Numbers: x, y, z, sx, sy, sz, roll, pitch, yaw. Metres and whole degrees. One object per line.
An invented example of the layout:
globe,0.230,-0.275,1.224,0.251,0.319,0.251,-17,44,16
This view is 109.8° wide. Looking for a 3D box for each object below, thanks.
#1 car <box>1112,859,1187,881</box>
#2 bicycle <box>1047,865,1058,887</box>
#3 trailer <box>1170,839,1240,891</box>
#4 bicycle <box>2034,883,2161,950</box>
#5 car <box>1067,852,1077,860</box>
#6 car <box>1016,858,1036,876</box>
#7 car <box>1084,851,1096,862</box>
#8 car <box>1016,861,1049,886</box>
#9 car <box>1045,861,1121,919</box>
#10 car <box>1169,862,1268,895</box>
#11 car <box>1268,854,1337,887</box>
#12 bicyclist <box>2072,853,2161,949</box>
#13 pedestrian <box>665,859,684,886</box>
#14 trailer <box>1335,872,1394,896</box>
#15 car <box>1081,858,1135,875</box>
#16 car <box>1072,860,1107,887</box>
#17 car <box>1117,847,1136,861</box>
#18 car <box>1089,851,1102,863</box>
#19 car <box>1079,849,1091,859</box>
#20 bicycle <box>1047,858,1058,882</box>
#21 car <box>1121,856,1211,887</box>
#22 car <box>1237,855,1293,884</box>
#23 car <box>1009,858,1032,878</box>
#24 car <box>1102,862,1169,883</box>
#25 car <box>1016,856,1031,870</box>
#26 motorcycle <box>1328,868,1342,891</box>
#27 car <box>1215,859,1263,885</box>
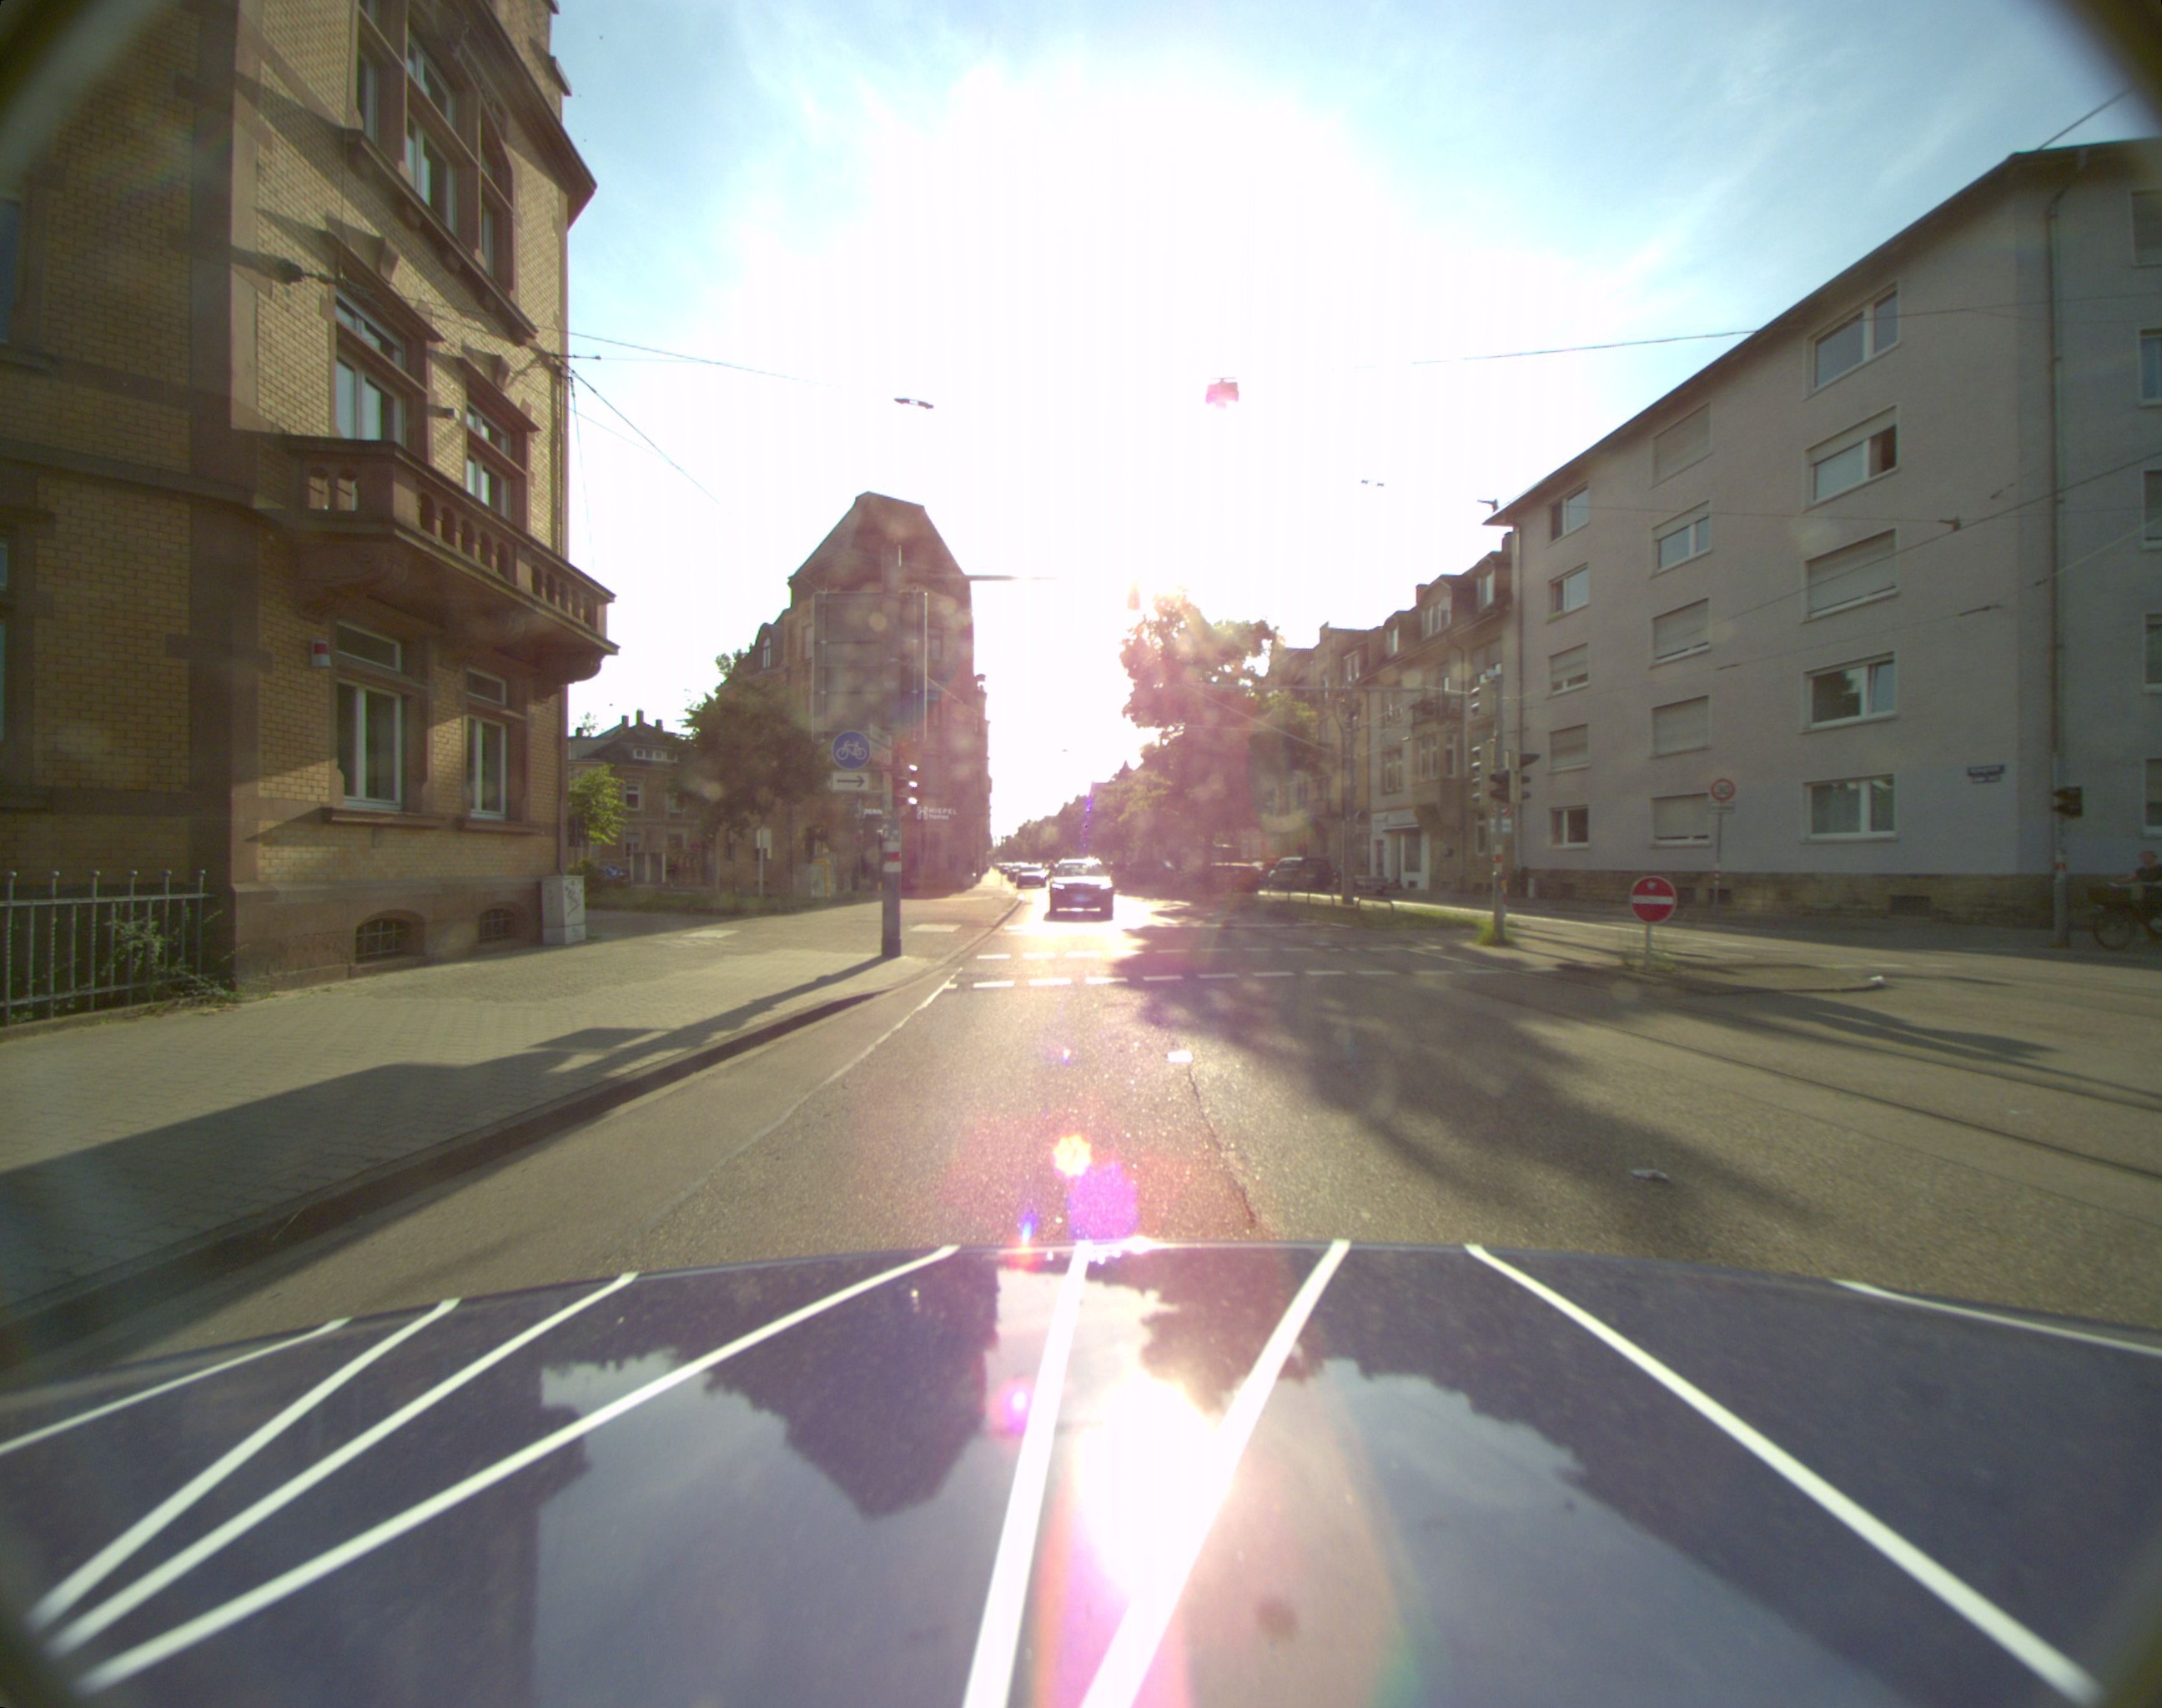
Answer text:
car,4.527,1.087,50.403,4.598,1.373,1.705,-2,0,28
bicycle,-1.579,1.238,42.484,0.484,1.183,1.338,-1,0,-6
trailer,5.951,0.536,36.423,2.859,2.377,1.726,-1,0,25
bicycle,18.370,1.077,13.380,1.913,1.104,0.736,0,1,14
car,-2.125,0.443,184.993,2.000,2.002,3.998,-1,0,-7
car,-6.154,1.404,84.427,2.000,2.002,3.998,0,0,-7
car,1.709,0.490,150.185,1.999,2.002,3.999,-1,0,-3
car,-3.214,1.255,49.799,1.841,1.494,4.263,-1,0,-8
car,-0.051,0.957,21.608,1.840,1.472,3.999,0,0,-4
car,5.983,1.049,33.191,3.942,1.352,1.676,0,0,28
car,12.391,0.894,42.852,2.171,1.739,4.716,-1,0,-4
bicyclist,18.366,0.808,13.372,0.772,1.633,0.795,0,1,14
pedestrian,-25.922,1.175,48.461,0.781,1.665,0.765,-1,0,42
trailer,13.553,1.423,36.476,1.444,0.891,2.878,-7,0,-5
car,2.400,1.143,68.139,4.260,1.413,2.176,-2,0,35
car,0.494,1.190,47.563,1.999,1.564,4.000,-1,0,-2
car,6.543,0.033,109.178,2.000,2.002,3.998,-1,0,-6
car,2.700,0.534,139.343,1.999,2.002,3.999,-1,0,-3
car,0.775,0.085,163.032,2.000,2.002,3.998,-1,0,-7
bicycle,-1.590,0.884,42.528,0.575,1.290,0.688,-1,0,-6
car,4.939,0.990,44.296,4.704,1.680,2.177,-1,0,35
car,11.892,0.963,49.453,2.171,1.739,4.609,-1,0,-4
car,-5.586,1.233,69.738,2.000,1.772,3.997,0,0,-7
car,3.860,1.337,54.102,4.294,1.413,1.963,-2,0,35
car,-8.476,1.265,111.980,2.000,2.002,3.998,0,0,-6
motorcycle,13.016,1.292,38.897,0.636,1.073,1.736,-1,0,18
car,11.318,1.247,54.624,2.171,1.739,4.609,-1,0,-4
